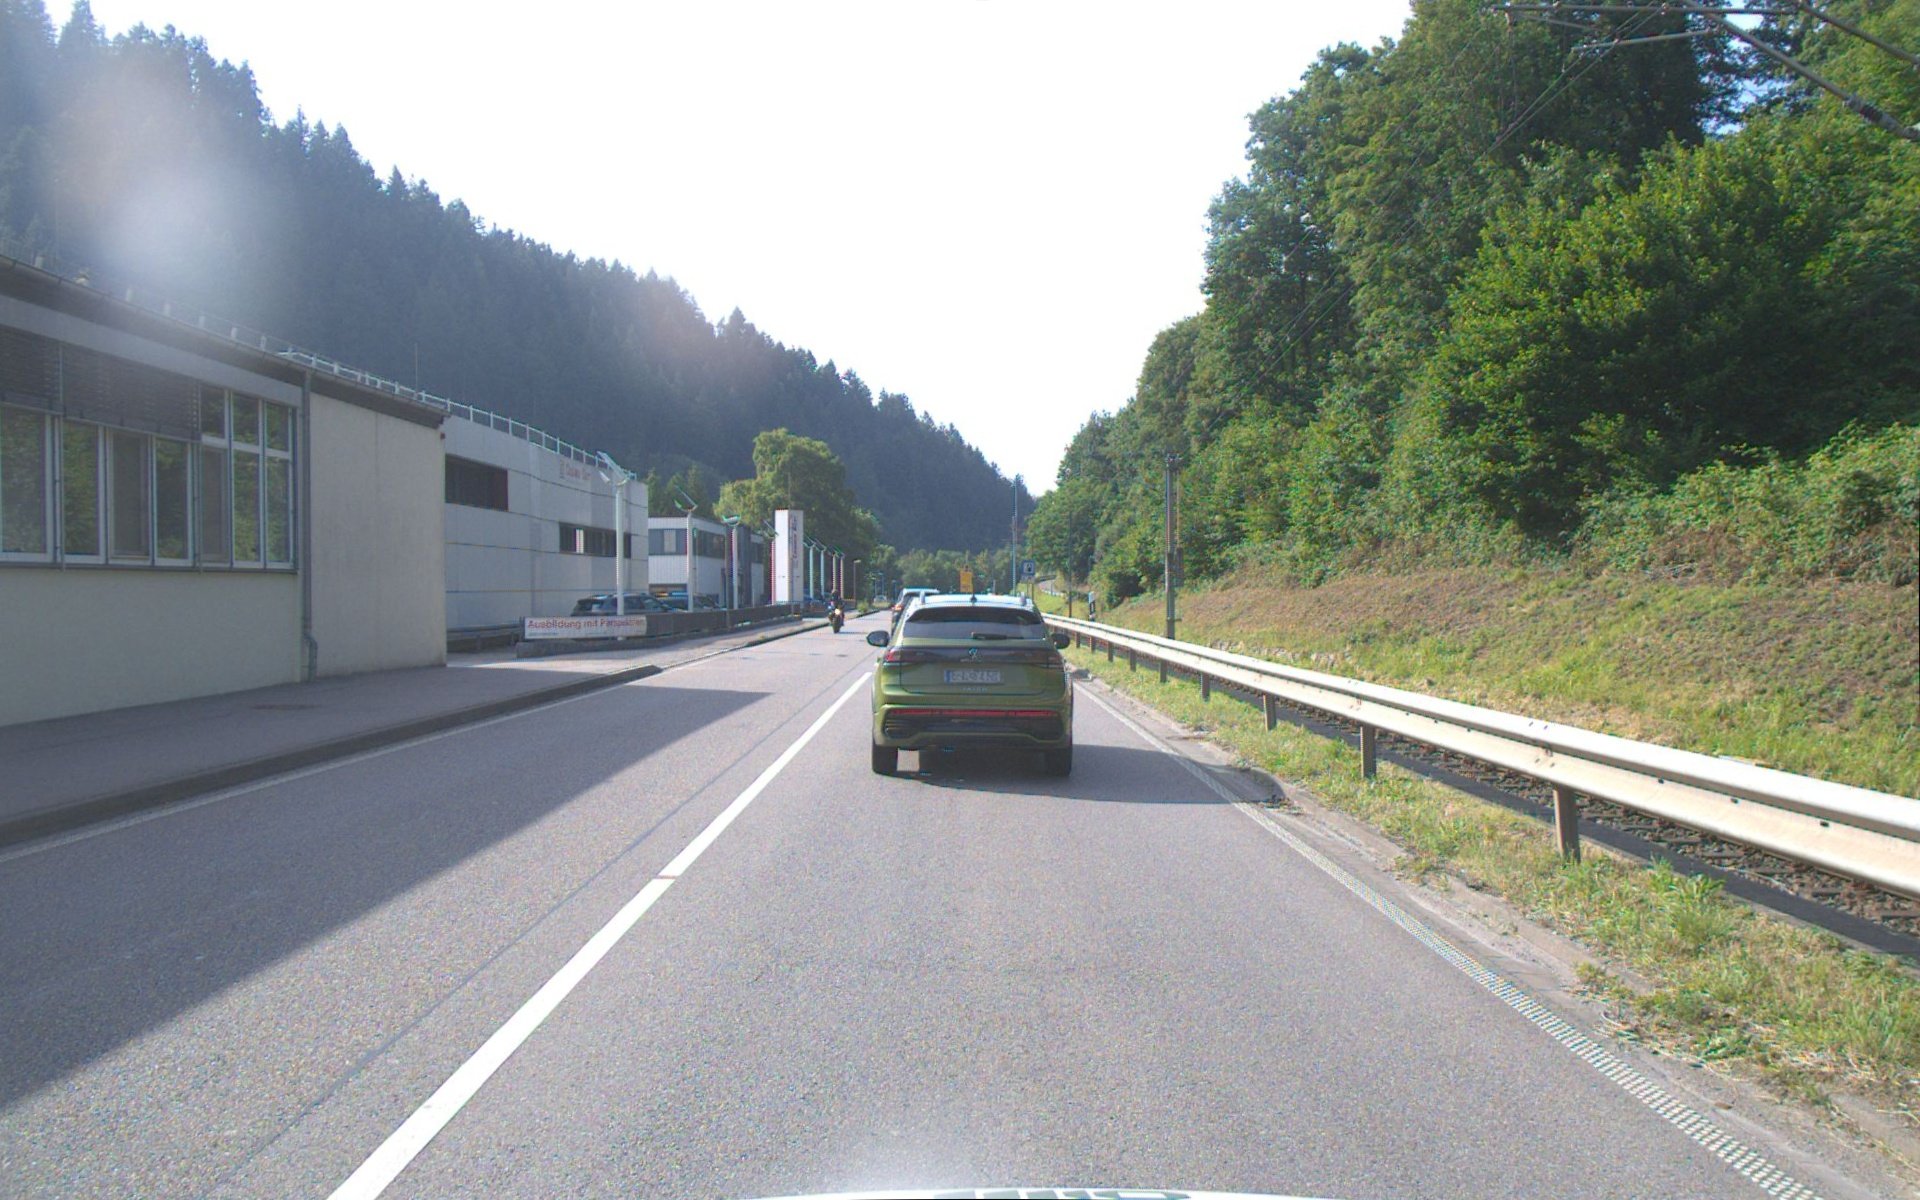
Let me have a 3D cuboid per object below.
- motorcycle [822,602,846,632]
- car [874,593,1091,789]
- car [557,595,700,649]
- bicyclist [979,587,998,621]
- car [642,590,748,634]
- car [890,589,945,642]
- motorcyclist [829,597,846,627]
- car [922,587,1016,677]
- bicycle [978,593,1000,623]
[{"bbox_3d":[-4.637,0.620,61.065,0.726,1.087,2.492,0,0,-1],"label":"motorcycle"},{"bbox_3d":[0.128,0.707,14.986,1.704,1.534,3.999,0,0,-2],"label":"car"},{"bbox_3d":[-10.329,0.647,51.778,1.854,1.619,4.152,0,0,41],"label":"car"},{"bbox_3d":[1.224,0.186,70.605,0.766,1.436,0.675,0,0,-3],"label":"bicyclist"},{"bbox_3d":[-10.686,0.461,66.929,1.749,1.738,4.088,0,0,41],"label":"car"},{"bbox_3d":[-1.387,0.477,53.788,1.704,1.630,3.999,0,0,-2],"label":"car"},{"bbox_3d":[-4.584,0.445,61.845,0.574,1.144,0.636,0,0,-1],"label":"motorcyclist"},{"bbox_3d":[0.124,0.582,32.257,1.704,1.630,3.999,0,0,-2],"label":"car"},{"bbox_3d":[1.227,0.342,70.506,0.795,1.272,2.122,0,0,-2],"label":"bicycle"}]
